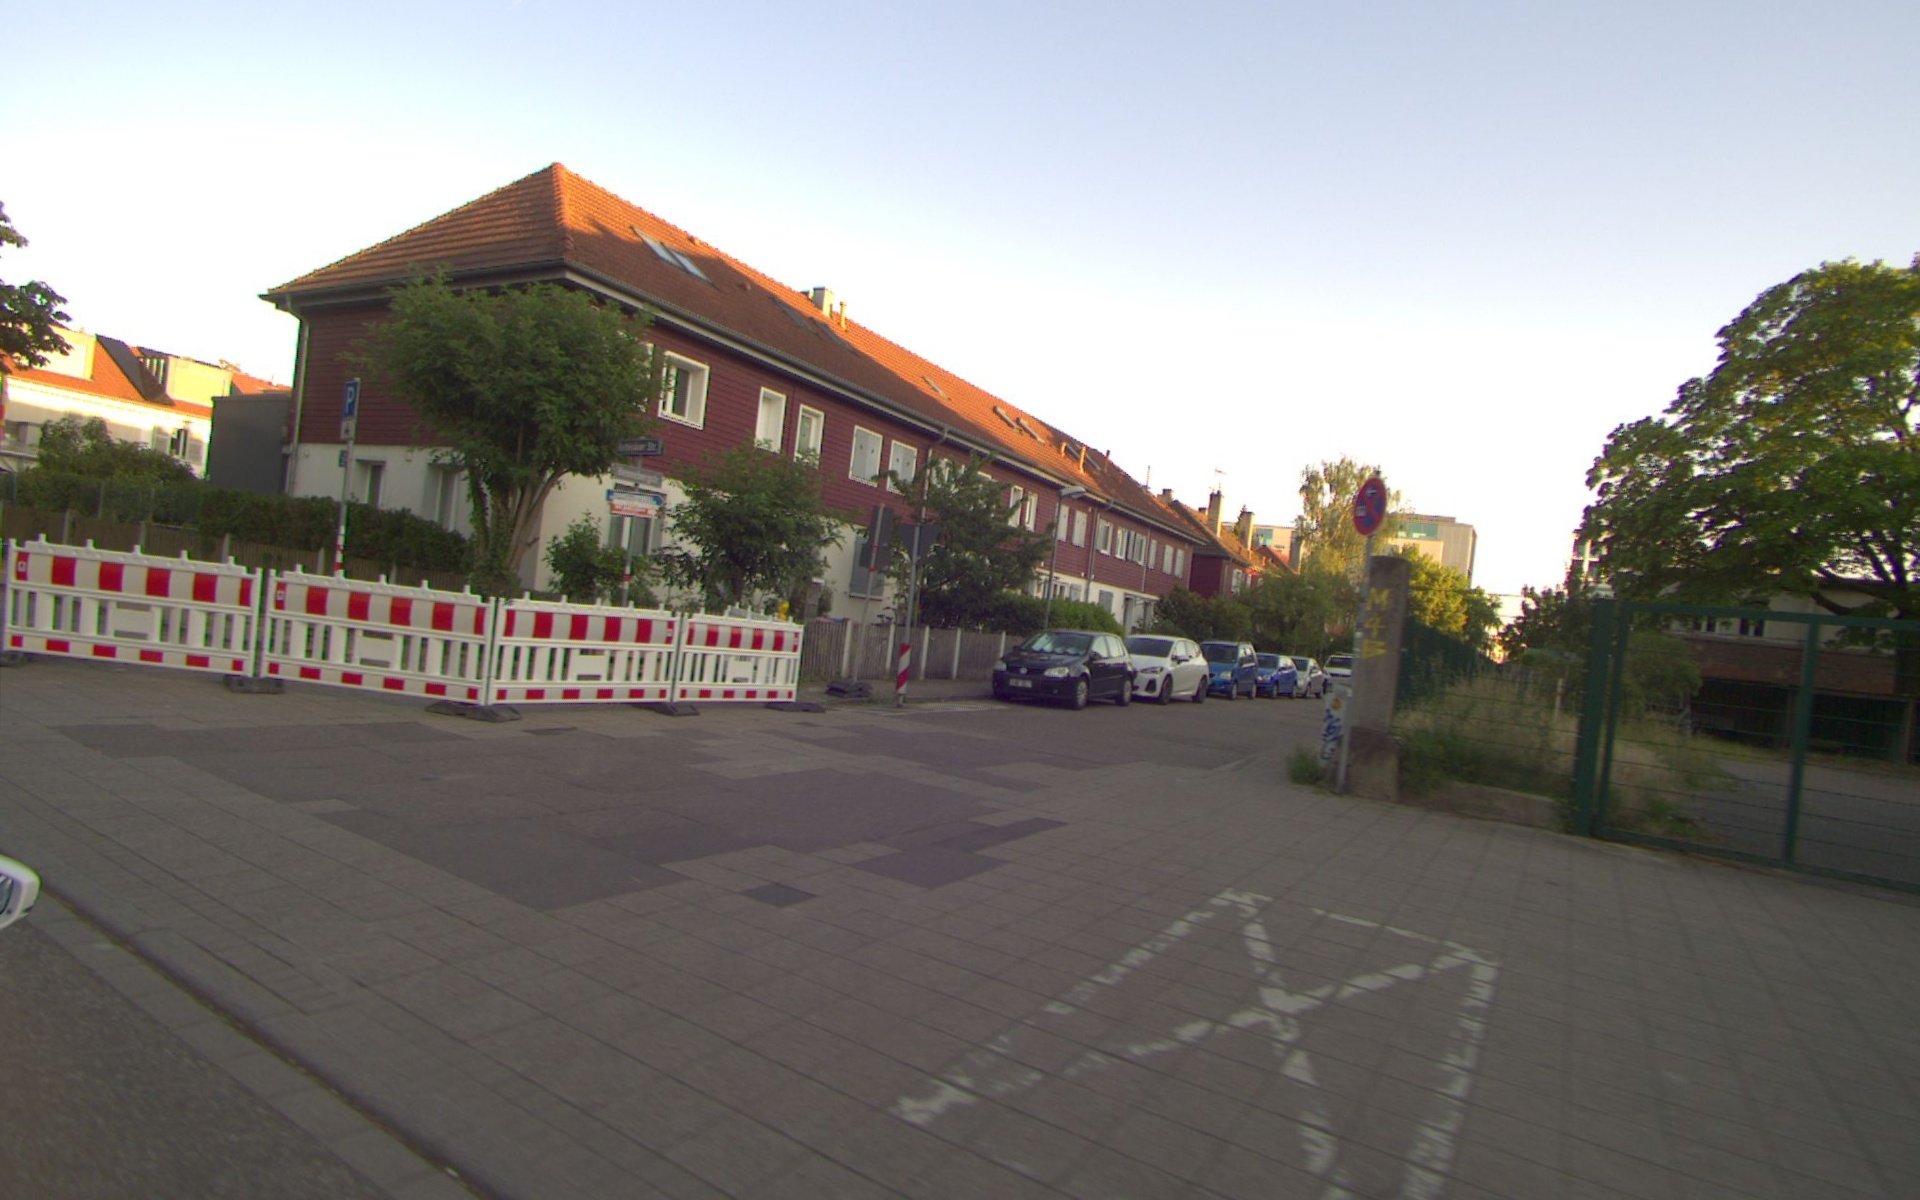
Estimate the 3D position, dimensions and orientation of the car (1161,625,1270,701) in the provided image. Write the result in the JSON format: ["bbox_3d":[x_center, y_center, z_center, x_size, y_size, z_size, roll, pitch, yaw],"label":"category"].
[{"bbox_3d":[7.605,1.897,29.685,1.966,1.855,3.995,7,-1,30],"label":"car"}]

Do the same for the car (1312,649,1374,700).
[{"bbox_3d":[17.946,3.499,47.052,1.966,2.037,3.995,7,-1,30],"label":"car"}]

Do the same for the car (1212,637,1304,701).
[{"bbox_3d":[10.018,2.333,33.632,1.966,1.782,3.995,7,-1,30],"label":"car"}]

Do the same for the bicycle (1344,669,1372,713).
[{"bbox_3d":[11.995,2.743,30.301,0.444,1.238,1.881,7,-1,28],"label":"bicycle"}]

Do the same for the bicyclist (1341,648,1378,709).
[{"bbox_3d":[11.979,2.344,30.163,0.731,1.719,0.980,7,0,29],"label":"bicyclist"}]

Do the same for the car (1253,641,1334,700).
[{"bbox_3d":[12.415,2.640,37.323,1.966,1.835,3.995,7,-1,30],"label":"car"}]

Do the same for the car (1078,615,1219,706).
[{"bbox_3d":[4.591,1.483,24.069,1.966,1.789,3.995,7,-1,30],"label":"car"}]

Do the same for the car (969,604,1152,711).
[{"bbox_3d":[2.080,1.171,19.668,1.966,1.683,3.995,7,-1,30],"label":"car"}]
